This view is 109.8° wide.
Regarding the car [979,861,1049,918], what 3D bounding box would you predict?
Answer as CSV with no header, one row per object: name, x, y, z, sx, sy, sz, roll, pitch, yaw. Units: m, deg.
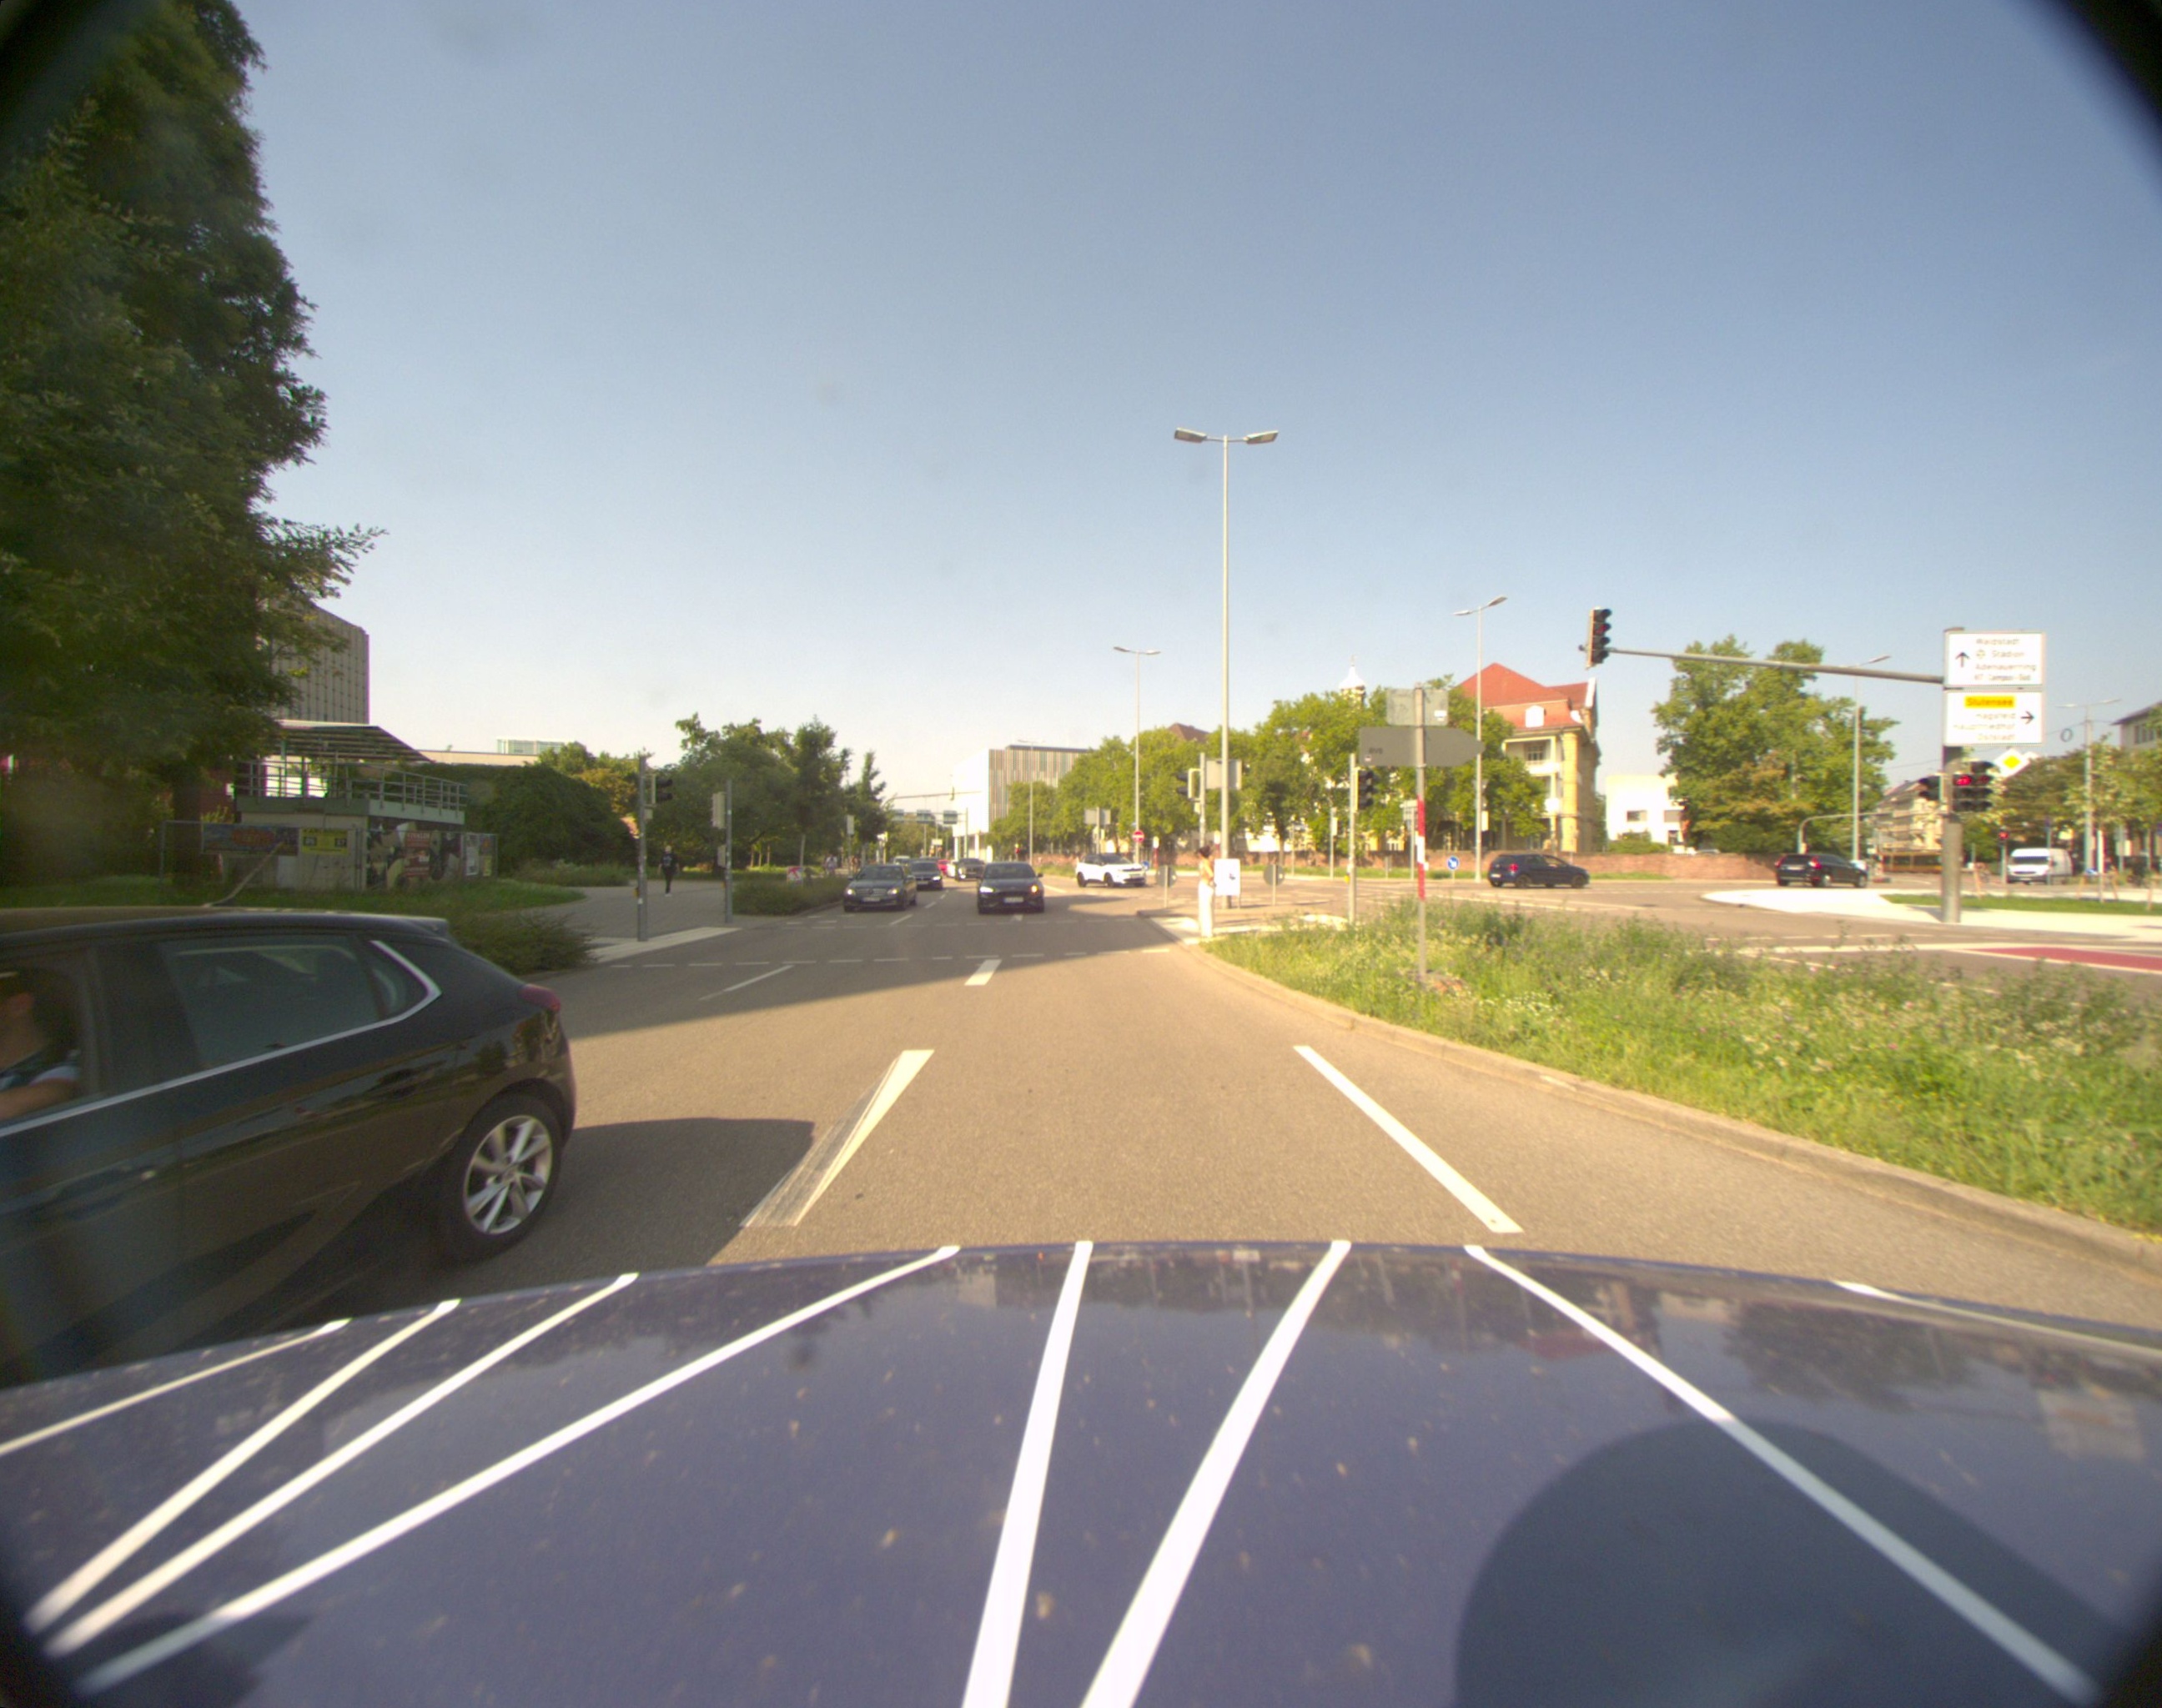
car,-2.044,0.964,22.447,1.838,1.427,4.547,-1,0,-7

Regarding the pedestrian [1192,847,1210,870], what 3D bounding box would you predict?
pedestrian,10.351,0.378,65.565,1.080,2.002,1.317,-1,1,-12

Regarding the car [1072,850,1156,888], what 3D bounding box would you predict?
car,1.547,0.724,37.075,2.002,1.624,4.363,-4,1,-29

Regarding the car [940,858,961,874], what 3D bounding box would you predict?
car,-12.311,1.097,71.528,1.689,1.483,4.366,0,0,-14

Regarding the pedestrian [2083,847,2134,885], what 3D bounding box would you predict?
pedestrian,55.280,0.614,40.897,1.344,2.002,1.210,0,0,-15

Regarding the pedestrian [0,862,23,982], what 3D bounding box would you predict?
pedestrian,-13.331,0.819,8.877,0.726,1.435,0.857,0,1,6

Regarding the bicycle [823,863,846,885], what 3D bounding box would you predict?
bicycle,-13.280,1.064,40.998,0.773,1.111,2.302,0,0,-7

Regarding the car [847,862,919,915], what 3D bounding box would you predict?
car,-6.184,1.019,24.141,1.688,1.434,4.369,-1,0,-8

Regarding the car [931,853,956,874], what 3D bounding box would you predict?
car,-11.031,0.748,60.734,1.784,1.596,4.416,0,0,-13

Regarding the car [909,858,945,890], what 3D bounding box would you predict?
car,-7.834,0.981,38.891,1.688,1.483,4.668,0,0,-10

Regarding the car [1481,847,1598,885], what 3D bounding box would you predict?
car,18.498,0.469,30.725,3.849,1.489,1.625,0,0,-6

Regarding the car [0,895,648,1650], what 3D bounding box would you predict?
car,-3.171,0.987,1.778,1.687,1.483,4.372,-2,0,1

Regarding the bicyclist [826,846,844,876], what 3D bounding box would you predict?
bicyclist,-13.300,0.391,41.161,0.773,1.583,0.923,0,0,-7

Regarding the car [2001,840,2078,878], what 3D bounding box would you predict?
car,67.969,0.338,53.873,5.557,2.437,1.996,-2,1,-24

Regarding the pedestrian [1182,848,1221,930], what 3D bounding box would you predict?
pedestrian,2.549,0.727,16.119,0.668,1.689,0.691,0,0,-3

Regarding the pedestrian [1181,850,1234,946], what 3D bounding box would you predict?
pedestrian,2.269,0.752,13.556,0.667,1.644,0.781,0,1,33

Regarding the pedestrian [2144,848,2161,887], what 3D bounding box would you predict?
pedestrian,54.625,0.678,38.448,1.009,2.002,0.860,0,1,-32

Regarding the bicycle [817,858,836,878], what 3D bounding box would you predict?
bicycle,-14.579,0.788,43.555,0.774,1.111,2.301,-1,0,-12

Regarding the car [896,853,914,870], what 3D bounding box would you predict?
car,-20.581,0.814,88.708,1.689,1.930,4.365,0,0,-17

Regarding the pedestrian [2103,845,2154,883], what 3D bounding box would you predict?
pedestrian,57.153,0.534,41.449,1.344,2.002,1.210,0,0,-15

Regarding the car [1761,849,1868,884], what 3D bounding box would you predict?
car,36.125,0.578,37.423,4.376,1.624,1.997,0,0,-19

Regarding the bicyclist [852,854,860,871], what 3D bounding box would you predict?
bicyclist,-22.294,0.882,75.333,0.774,1.666,0.923,-1,1,-17

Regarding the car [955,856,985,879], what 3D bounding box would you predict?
car,-7.668,0.889,52.240,1.689,1.483,4.367,0,0,-13

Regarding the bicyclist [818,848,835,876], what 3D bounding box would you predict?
bicyclist,-14.590,0.439,43.547,0.774,1.583,0.923,-1,1,-12

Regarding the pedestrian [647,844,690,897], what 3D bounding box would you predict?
pedestrian,-14.351,0.562,26.451,0.960,1.772,1.002,2,0,-5

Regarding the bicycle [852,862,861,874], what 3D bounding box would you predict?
bicycle,-22.310,1.368,75.405,0.774,1.111,2.300,-1,0,-17
